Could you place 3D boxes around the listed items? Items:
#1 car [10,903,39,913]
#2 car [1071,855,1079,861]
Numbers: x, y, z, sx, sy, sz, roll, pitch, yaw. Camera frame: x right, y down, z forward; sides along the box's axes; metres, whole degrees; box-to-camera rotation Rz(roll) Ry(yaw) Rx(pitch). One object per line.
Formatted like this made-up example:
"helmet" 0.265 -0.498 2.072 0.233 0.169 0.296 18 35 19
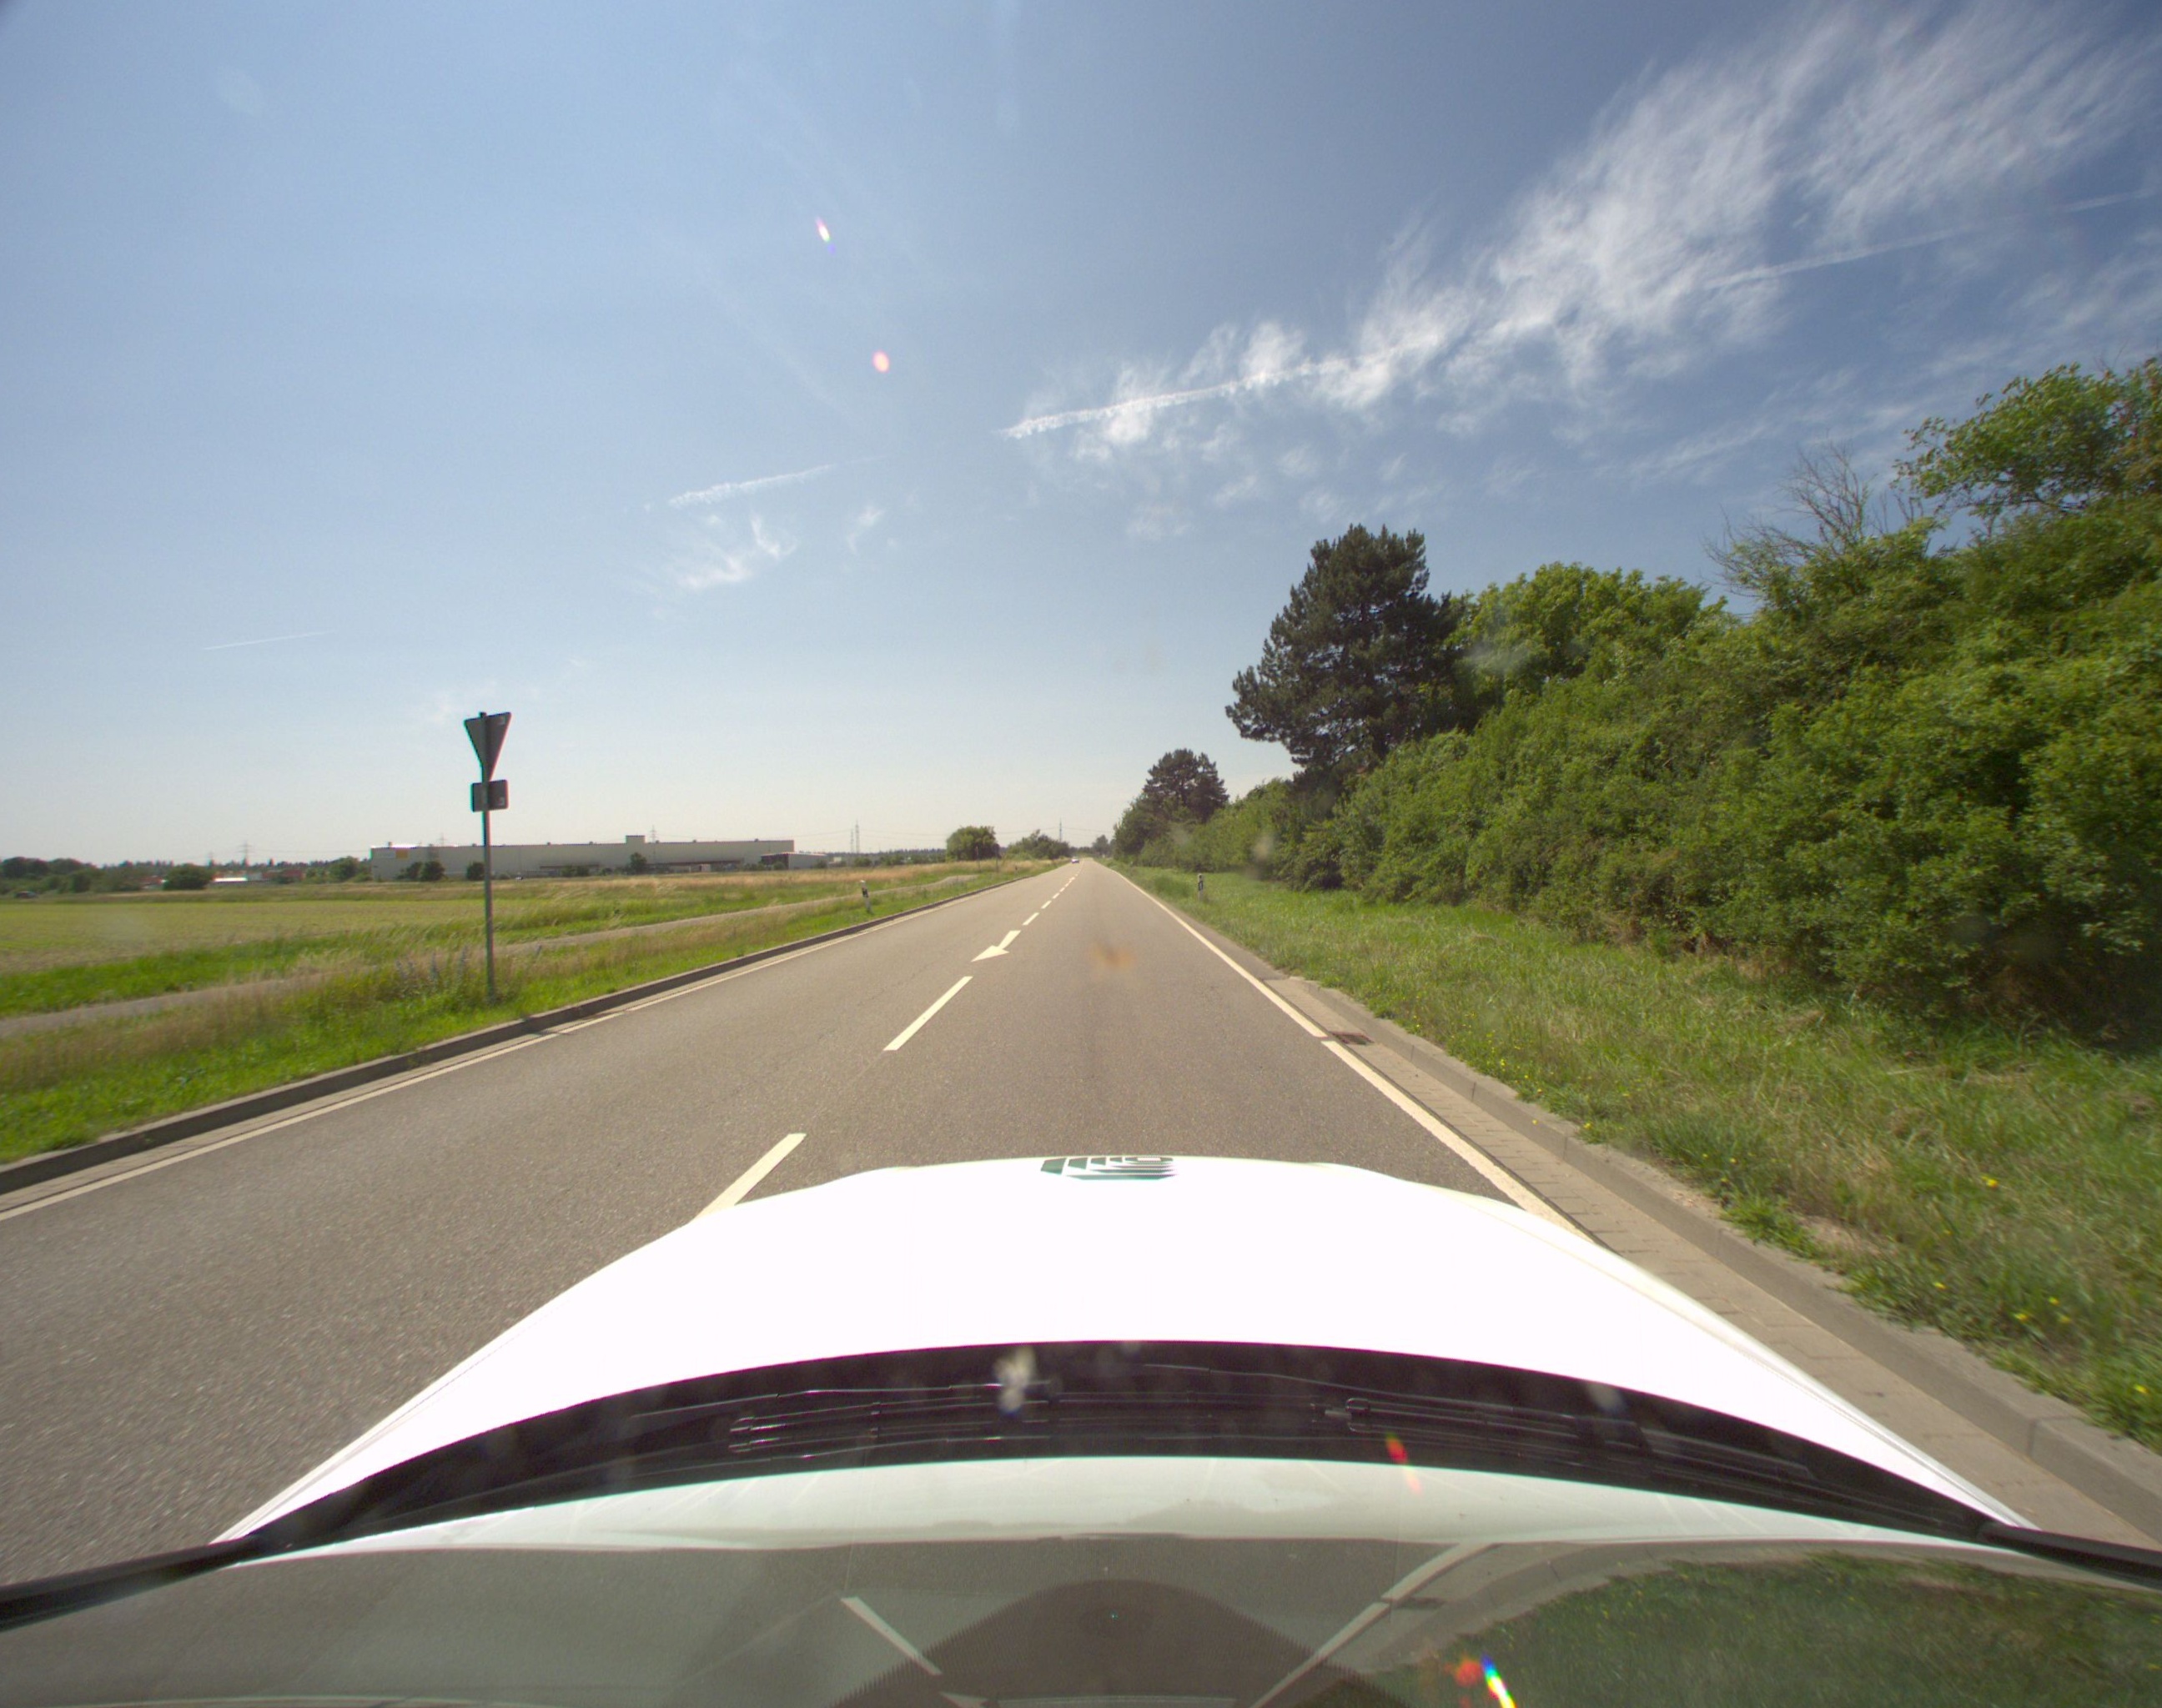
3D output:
"car" -205.144 10.462 158.135 2.007 1.772 3.960 -3 0 -31
"car" -1.380 1.008 196.328 1.673 1.421 4.421 -4 0 0
